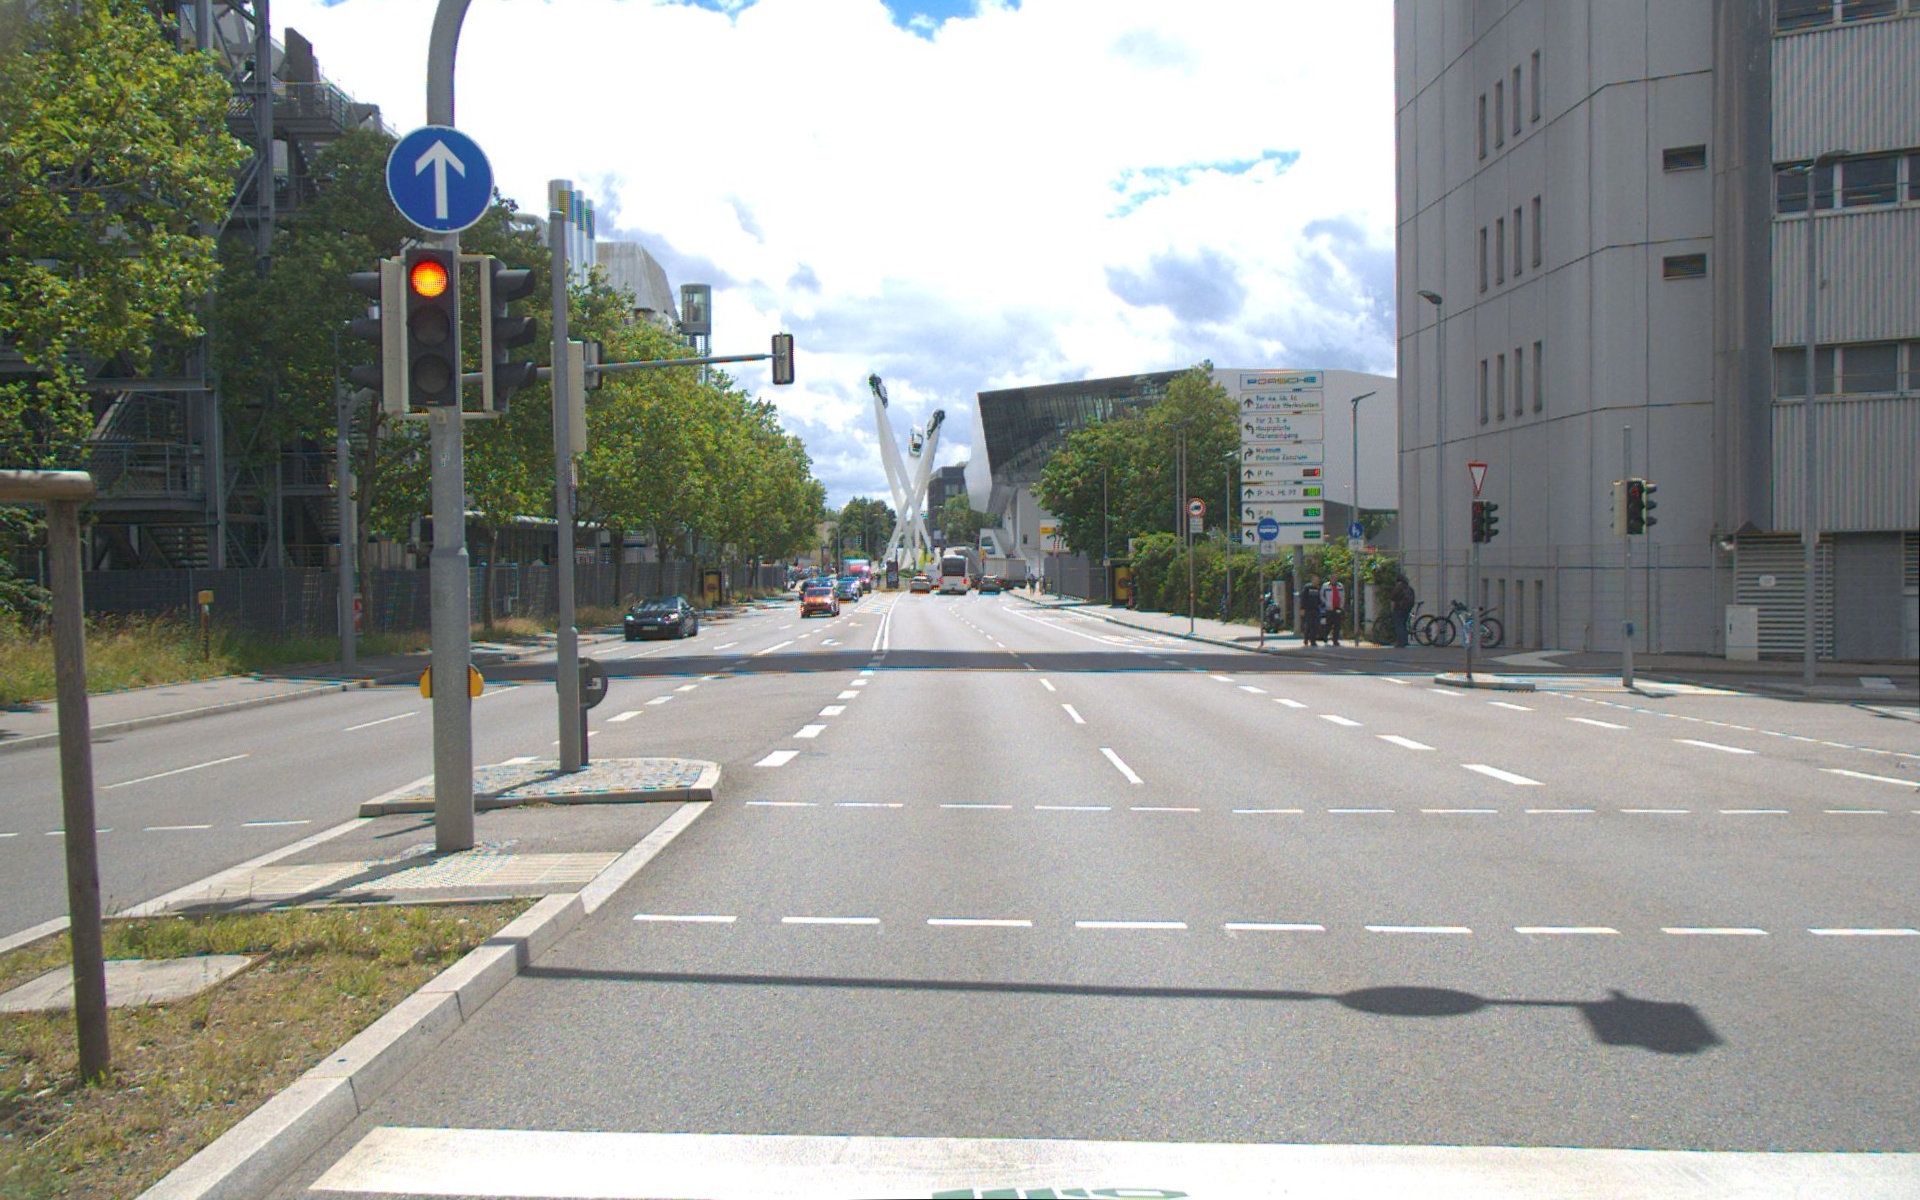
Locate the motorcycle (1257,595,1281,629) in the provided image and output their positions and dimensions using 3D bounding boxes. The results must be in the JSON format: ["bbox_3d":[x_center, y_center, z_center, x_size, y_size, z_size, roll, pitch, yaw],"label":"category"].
[{"bbox_3d":[9.736,0.366,52.144,0.448,1.040,1.913,1,0,1],"label":"motorcycle"}]

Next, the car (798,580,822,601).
[{"bbox_3d":[-12.171,-0.768,134.234,1.761,1.601,3.998,0,0,-2],"label":"car"}]

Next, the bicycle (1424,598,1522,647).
[{"bbox_3d":[12.025,0.529,38.808,2.149,1.105,0.475,1,-1,35],"label":"bicycle"}]

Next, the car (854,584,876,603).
[{"bbox_3d":[-7.762,-0.510,135.033,1.525,1.473,3.772,-2,0,0],"label":"car"}]

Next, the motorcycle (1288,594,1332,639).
[{"bbox_3d":[9.544,0.448,45.157,0.410,1.186,1.951,1,0,-11],"label":"motorcycle"}]

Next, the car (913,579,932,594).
[{"bbox_3d":[-3.376,-1.227,148.600,1.525,1.295,3.701,-2,0,1],"label":"car"}]

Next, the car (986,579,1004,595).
[{"bbox_3d":[3.095,-1.153,146.283,1.525,1.295,3.701,-2,0,1],"label":"car"}]

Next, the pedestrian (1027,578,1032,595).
[{"bbox_3d":[5.787,-1.134,138.089,0.378,1.446,0.423,1,-1,0],"label":"pedestrian"}]

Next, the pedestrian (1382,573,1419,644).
[{"bbox_3d":[10.483,0.194,39.388,0.529,1.669,0.649,1,-1,-38],"label":"pedestrian"}]

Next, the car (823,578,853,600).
[{"bbox_3d":[-8.505,-0.780,115.551,1.733,1.445,3.701,-2,0,0],"label":"car"}]

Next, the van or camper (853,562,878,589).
[{"bbox_3d":[-8.718,-2.238,152.508,2.005,2.509,5.594,0,0,0],"label":"van or camper"}]

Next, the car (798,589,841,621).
[{"bbox_3d":[-6.850,0.210,81.152,1.733,1.445,3.701,-2,0,0],"label":"car"}]

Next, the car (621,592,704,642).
[{"bbox_3d":[-10.036,0.536,56.126,1.878,1.514,4.772,-2,0,0],"label":"car"}]

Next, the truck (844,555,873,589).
[{"bbox_3d":[-10.424,-2.848,170.462,2.538,3.382,7.078,1,0,0],"label":"truck"}]

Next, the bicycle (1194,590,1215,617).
[{"bbox_3d":[9.666,0.150,65.404,0.410,1.040,1.910,1,0,-5],"label":"bicycle"}]

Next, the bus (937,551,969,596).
[{"bbox_3d":[-0.573,-2.292,146.613,2.730,3.750,6.942,1,0,0],"label":"bus"}]

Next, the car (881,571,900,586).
[{"bbox_3d":[-6.518,-2.022,155.626,1.525,1.295,3.701,-2,0,0],"label":"car"}]

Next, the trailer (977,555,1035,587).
[{"bbox_3d":[4.880,-2.973,172.184,3.250,3.047,10.380,1,0,18],"label":"trailer"}]

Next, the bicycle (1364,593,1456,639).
[{"bbox_3d":[11.149,0.383,41.028,2.180,1.105,0.475,1,-1,35],"label":"bicycle"}]

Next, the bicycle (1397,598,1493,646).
[{"bbox_3d":[11.634,0.526,39.703,2.180,1.105,0.475,1,-1,35],"label":"bicycle"}]

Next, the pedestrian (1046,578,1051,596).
[{"bbox_3d":[7.436,-1.099,138.365,0.378,1.446,0.423,1,-1,0],"label":"pedestrian"}]

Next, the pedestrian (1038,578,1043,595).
[{"bbox_3d":[6.638,-1.115,136.798,0.378,1.446,0.423,1,-1,0],"label":"pedestrian"}]

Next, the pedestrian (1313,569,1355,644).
[{"bbox_3d":[9.349,0.154,41.359,0.680,1.825,0.709,-3,1,-16],"label":"pedestrian"}]

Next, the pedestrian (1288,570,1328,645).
[{"bbox_3d":[8.672,0.194,41.235,0.631,1.825,0.709,-3,1,-16],"label":"pedestrian"}]

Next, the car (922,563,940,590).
[{"bbox_3d":[-3.021,-2.400,171.097,1.806,2.669,3.998,1,0,-2],"label":"car"}]
